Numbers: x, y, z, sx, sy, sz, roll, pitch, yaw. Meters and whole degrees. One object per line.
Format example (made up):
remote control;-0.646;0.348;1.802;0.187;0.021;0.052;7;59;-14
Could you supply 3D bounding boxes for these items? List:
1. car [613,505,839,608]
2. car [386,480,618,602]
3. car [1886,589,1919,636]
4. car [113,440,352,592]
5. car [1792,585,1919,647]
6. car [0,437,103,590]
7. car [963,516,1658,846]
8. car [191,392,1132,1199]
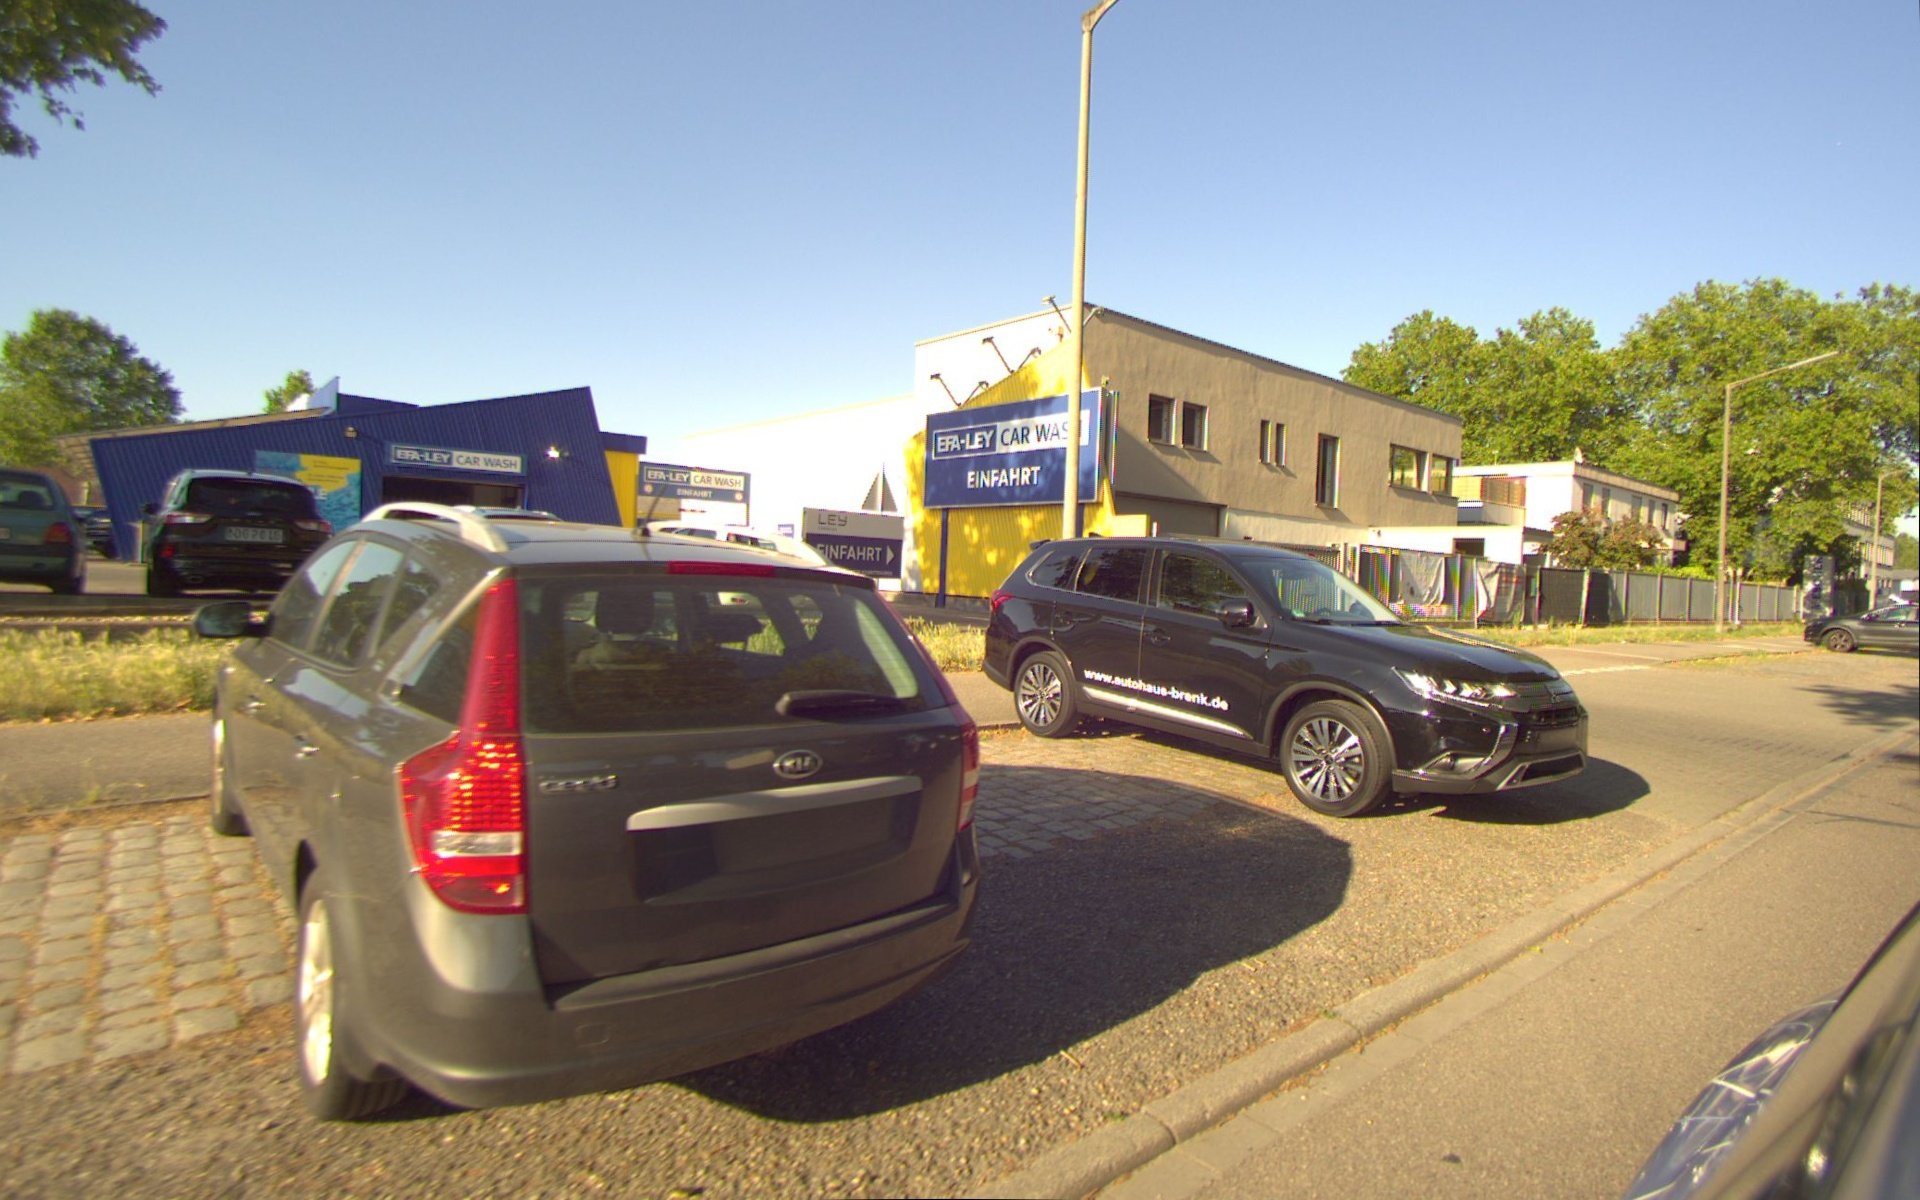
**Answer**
car;-4.019;-0.684;16.994;1.967;1.516;3.990;0;1;-44
car;-6.823;-0.791;14.882;1.921;1.538;3.990;0;1;-44
car;38.625;0.650;38.547;1.965;1.732;4.636;0;6;-41
car;-9.384;-0.939;12.933;1.967;1.615;3.990;0;1;-44
car;27.994;0.514;30.118;1.965;1.544;4.636;0;6;-41
car;-11.193;-0.906;11.535;1.967;1.538;3.990;0;1;-44
car;2.230;0.271;7.701;1.963;1.598;4.617;0;5;-37
car;-1.758;0.248;4.104;1.965;1.632;4.614;0;6;-40
